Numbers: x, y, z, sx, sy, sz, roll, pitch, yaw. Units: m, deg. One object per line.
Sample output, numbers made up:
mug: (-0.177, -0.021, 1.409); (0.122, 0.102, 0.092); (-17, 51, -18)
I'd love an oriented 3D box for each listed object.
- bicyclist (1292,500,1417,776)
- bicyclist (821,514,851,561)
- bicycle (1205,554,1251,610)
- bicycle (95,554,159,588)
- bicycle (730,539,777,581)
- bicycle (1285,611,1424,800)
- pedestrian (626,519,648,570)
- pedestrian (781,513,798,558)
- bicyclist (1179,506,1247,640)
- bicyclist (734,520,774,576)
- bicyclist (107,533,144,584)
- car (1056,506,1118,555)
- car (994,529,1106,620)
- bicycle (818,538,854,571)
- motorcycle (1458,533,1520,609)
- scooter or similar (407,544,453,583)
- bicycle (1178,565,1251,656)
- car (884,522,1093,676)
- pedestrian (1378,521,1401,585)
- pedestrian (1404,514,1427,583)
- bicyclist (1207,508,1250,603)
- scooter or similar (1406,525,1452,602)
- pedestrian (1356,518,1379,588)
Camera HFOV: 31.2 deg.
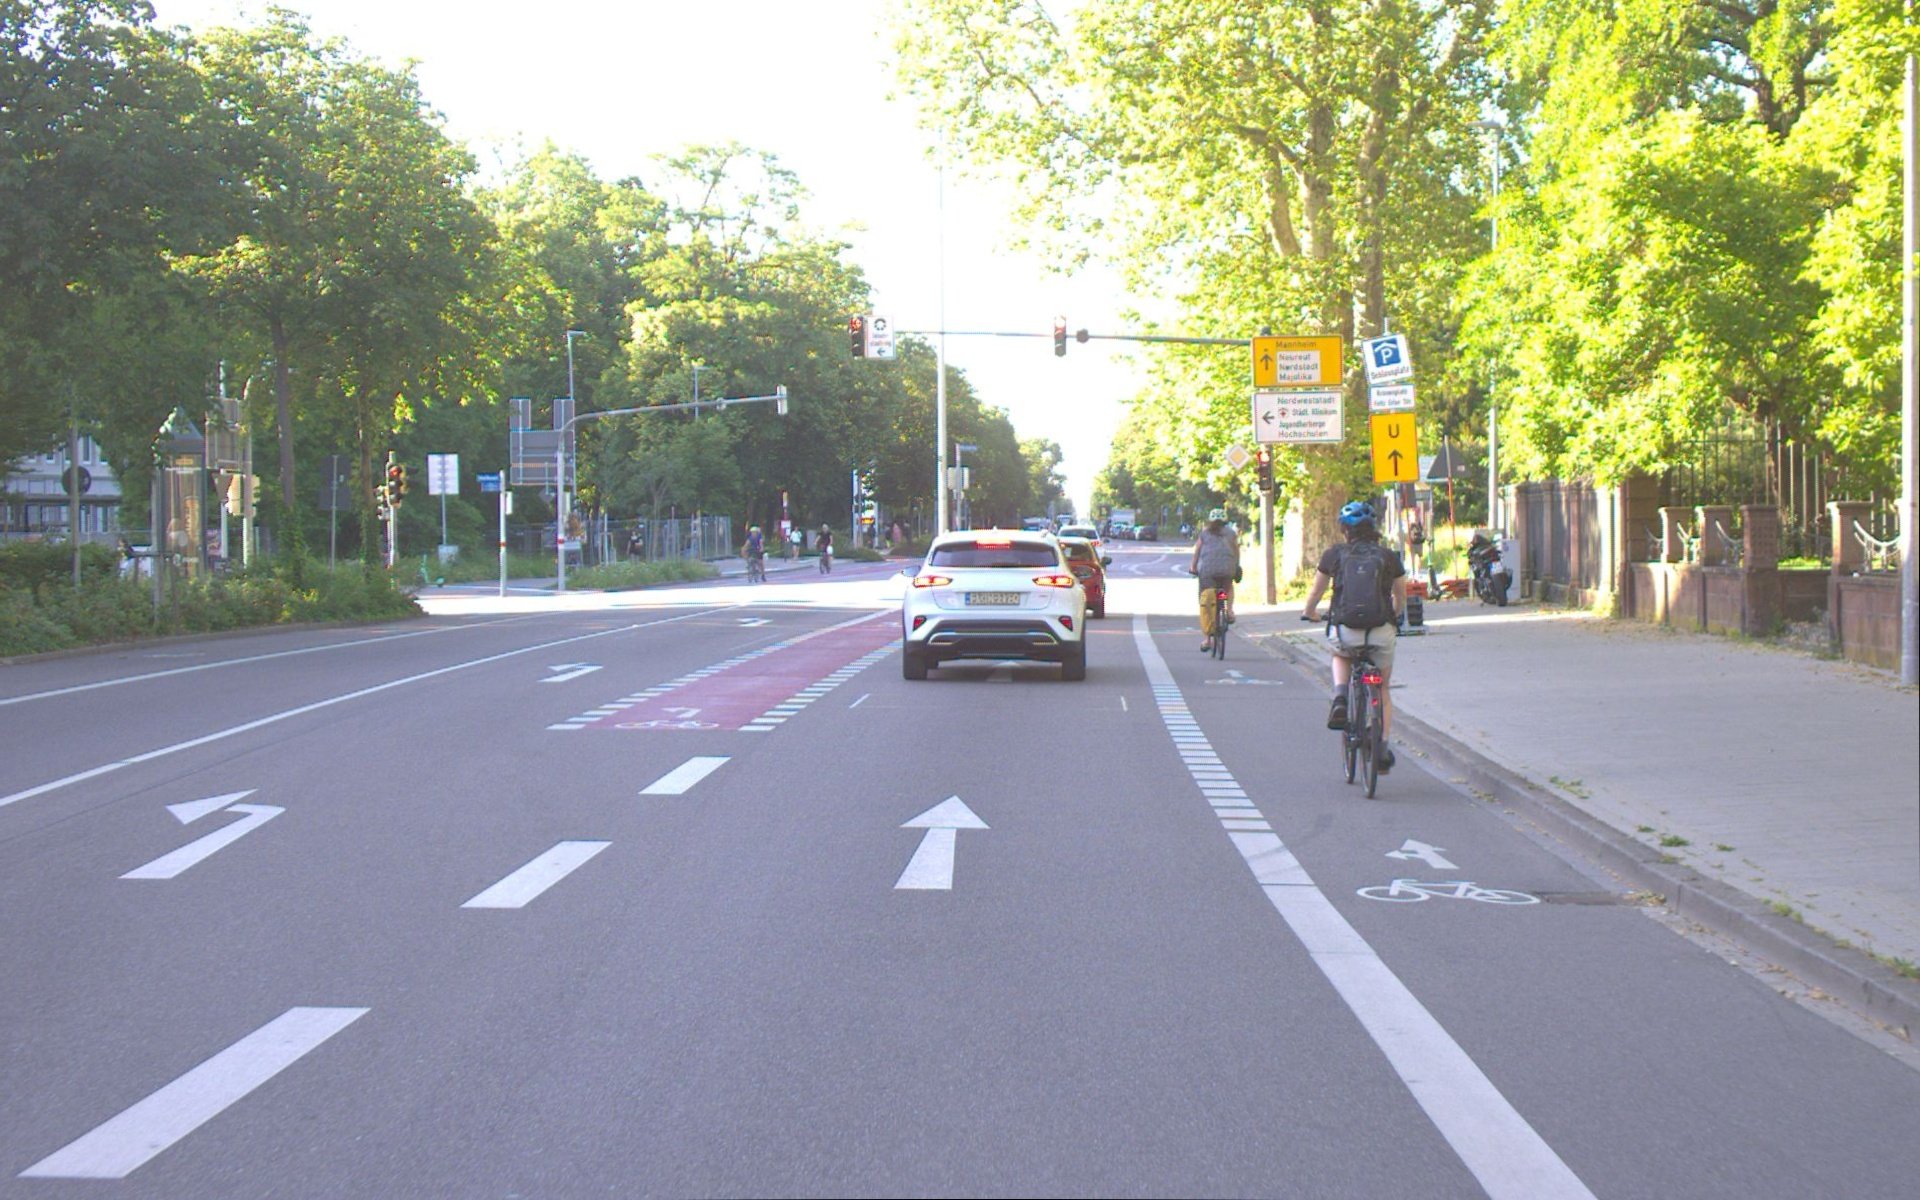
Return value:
bicyclist: (2.360, 0.208, 20.682); (0.636, 1.609, 1.284); (0, 1, 2)
bicyclist: (-4.544, -2.283, 126.078); (0.956, 1.699, 1.232); (-1, 1, 4)
bicycle: (4.989, -0.342, 64.017); (0.753, 1.022, 1.869); (0, 0, 2)
bicycle: (-24.670, -0.855, 101.770); (1.766, 0.986, 0.512); (-1, 1, 9)
bicycle: (-6.541, -1.279, 109.088); (1.102, 1.250, 2.779); (-1, 1, 4)
bicycle: (2.370, 0.608, 20.881); (0.643, 1.021, 2.212); (1, 1, 2)
pedestrian: (-12.129, -2.078, 129.123); (0.651, 1.881, 0.662); (-1, 1, 5)
pedestrian: (-7.606, -2.897, 153.657); (0.656, 2.007, 0.832); (-1, 1, 0)
bicyclist: (2.928, -0.314, 39.815); (0.747, 1.532, 0.969); (0, 1, 2)
bicyclist: (-6.532, -1.669, 109.176); (1.092, 1.748, 1.097); (-1, 1, 4)
bicyclist: (-24.697, -1.233, 101.768); (0.922, 1.503, 0.506); (-1, 1, 9)
car: (4.168, -2.302, 112.635); (1.737, 1.541, 3.999); (-1, 2, 6)
car: (1.639, -0.488, 62.119); (1.929, 1.528, 4.000); (-1, 1, 2)
bicycle: (-4.537, -1.677, 126.177); (0.964, 1.177, 2.951); (-1, 1, 4)
motorcycle: (8.610, -0.486, 56.027); (0.662, 1.163, 2.327); (-3, 1, 2)
scooter or similar: (-16.223, -1.126, 105.259); (0.511, 1.140, 1.698); (-1, 1, 24)
bicycle: (2.931, 0.112, 39.787); (0.753, 1.022, 1.869); (0, 0, 2)
car: (0.342, -0.055, 35.235); (1.993, 1.448, 4.000); (-1, 1, 2)
pedestrian: (11.339, -1.229, 90.693); (0.482, 1.634, 0.432); (-4, 4, 9)
pedestrian: (12.108, -1.360, 91.322); (0.482, 1.786, 0.432); (-3, 4, 9)
bicyclist: (4.992, -0.833, 63.949); (0.749, 1.744, 0.843); (0, 1, 2)
scooter or similar: (8.563, -0.674, 62.809); (0.566, 1.378, 1.856); (-1, 1, 1)
pedestrian: (10.737, -1.250, 90.685); (0.482, 1.786, 0.432); (-3, 4, 9)
